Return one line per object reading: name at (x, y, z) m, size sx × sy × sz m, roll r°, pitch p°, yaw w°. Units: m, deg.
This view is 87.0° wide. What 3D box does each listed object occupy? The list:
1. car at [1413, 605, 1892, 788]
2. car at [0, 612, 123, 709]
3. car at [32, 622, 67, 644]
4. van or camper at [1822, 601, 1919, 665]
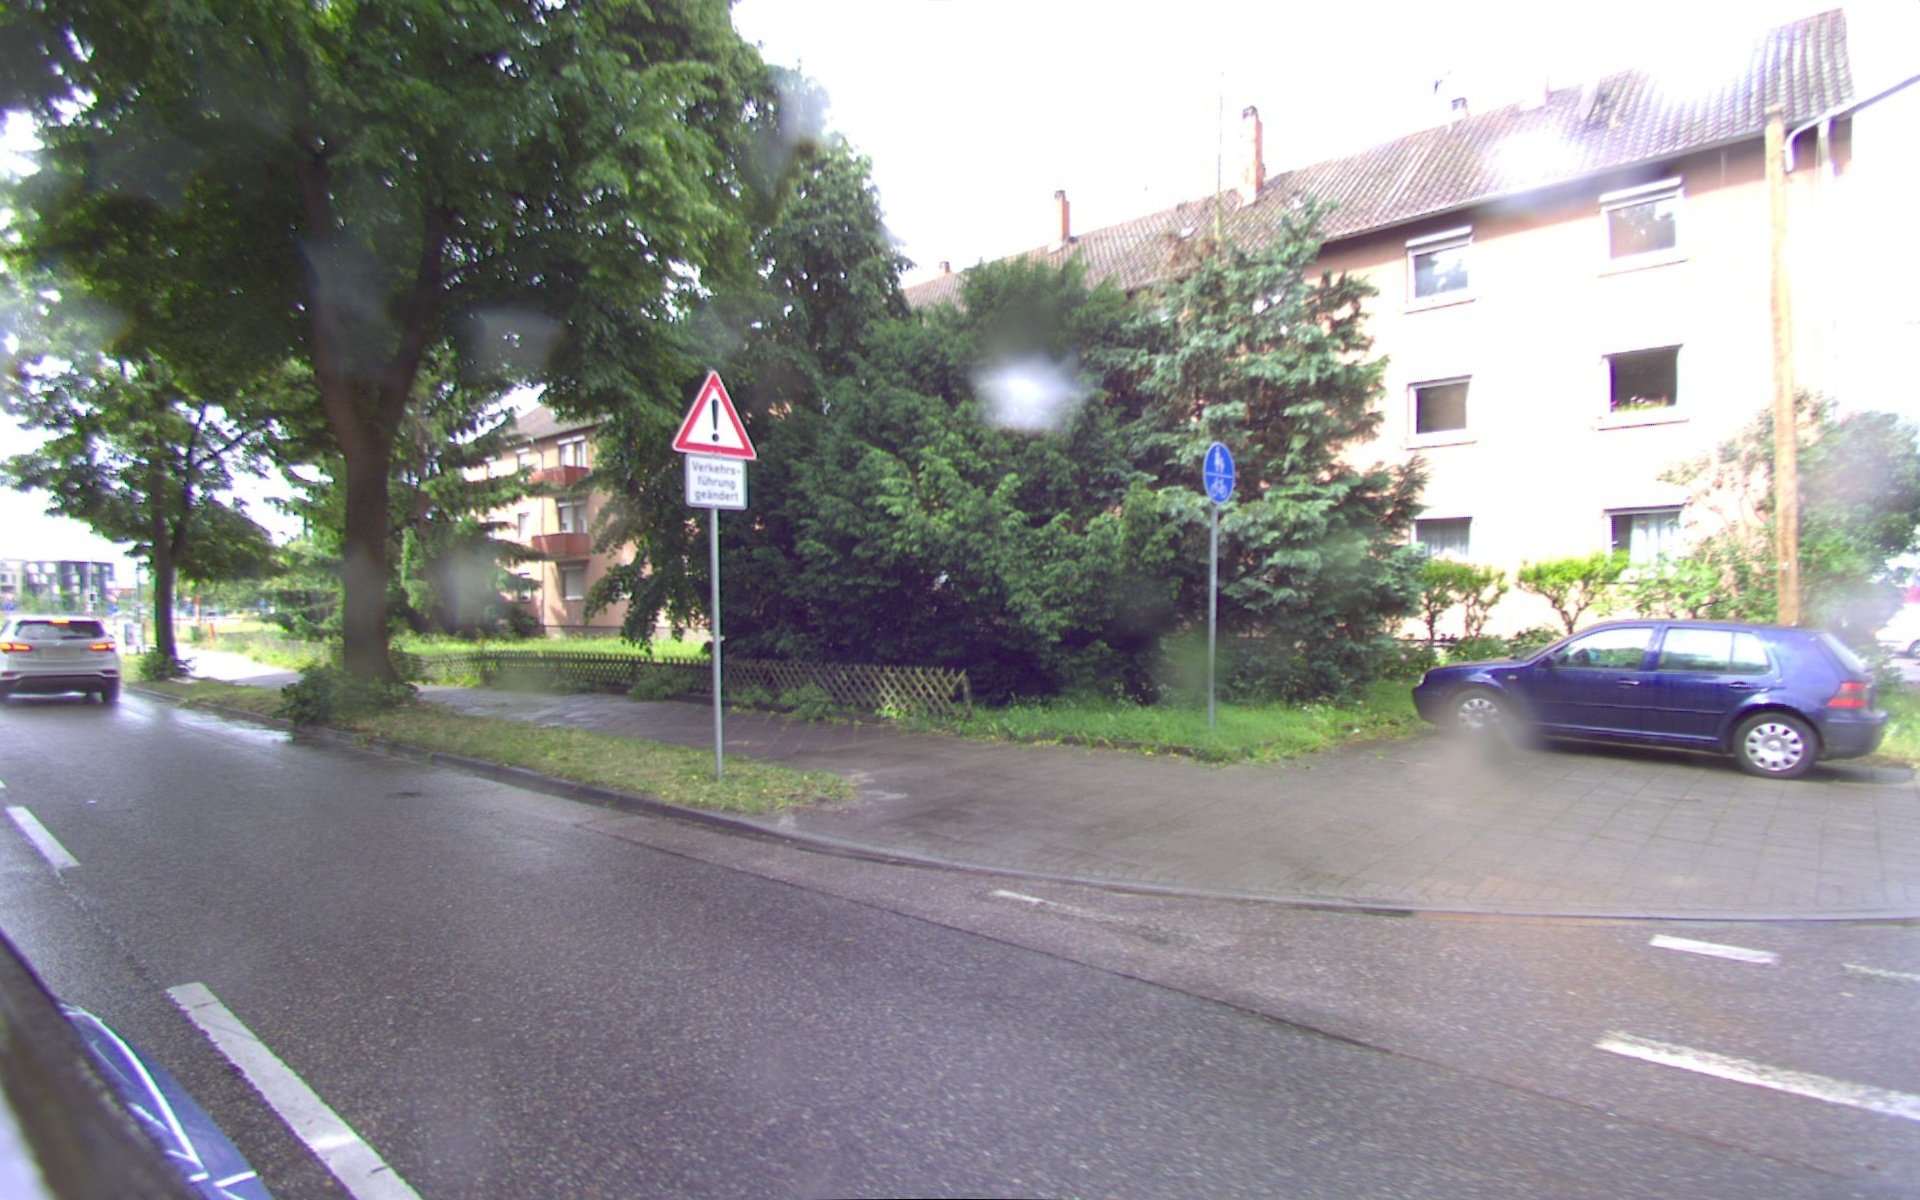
car at (6.965, 0.824, 10.449) m, size 3.870 × 1.430 × 1.606 m, roll 1°, pitch 2°, yaw 43°
car at (-18.054, 1.117, 19.925) m, size 4.229 × 1.726 × 1.866 m, roll -1°, pitch -2°, yaw 43°
car at (-64.733, 2.331, 71.924) m, size 3.795 × 1.519 × 1.661 m, roll -1°, pitch -1°, yaw 45°
van or camper at (31.226, 1.096, 33.367) m, size 3.987 × 2.029 × 1.928 m, roll -1°, pitch -4°, yaw 32°
